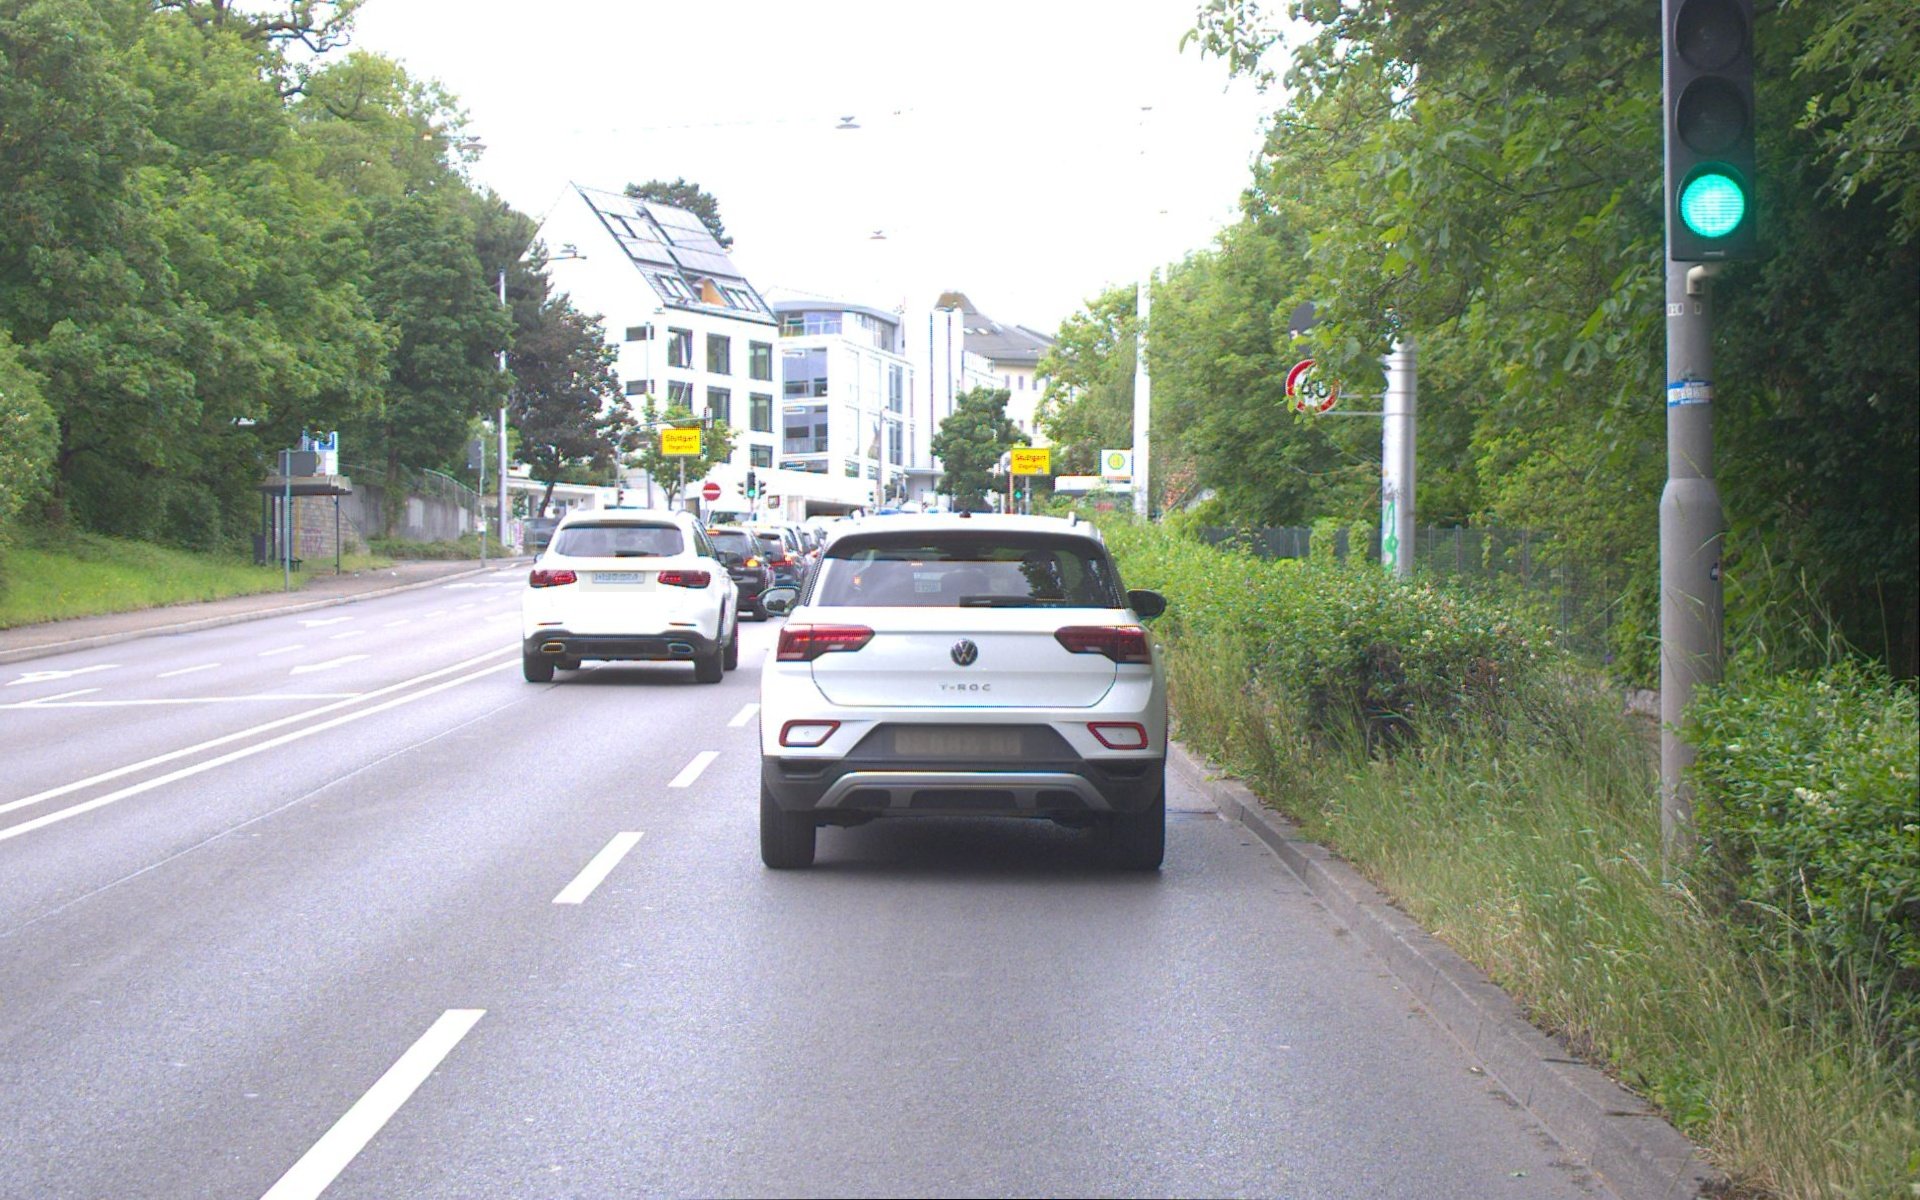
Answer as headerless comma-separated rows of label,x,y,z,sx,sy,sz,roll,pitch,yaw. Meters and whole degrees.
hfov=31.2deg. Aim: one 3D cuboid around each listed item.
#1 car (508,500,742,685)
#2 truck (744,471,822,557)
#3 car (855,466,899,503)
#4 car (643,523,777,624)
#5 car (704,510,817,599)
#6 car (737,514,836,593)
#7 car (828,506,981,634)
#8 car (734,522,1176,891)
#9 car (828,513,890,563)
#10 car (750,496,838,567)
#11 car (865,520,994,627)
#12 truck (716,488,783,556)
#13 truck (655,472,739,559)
car,-3.183,-0.116,33.391,1.918,1.664,4.000,1,1,-1
truck,-5.947,-2.898,116.057,2.362,2.772,4.478,-1,1,-1
car,-3.533,-4.935,147.498,1.829,1.520,4.000,-1,1,-1
car,-3.865,-0.439,53.749,1.829,1.492,4.000,-1,1,-1
car,-3.568,-0.840,62.050,1.829,1.520,4.000,-1,1,-1
car,-3.488,-0.959,69.698,1.829,1.520,4.000,-1,1,-1
car,-0.697,-0.408,43.729,1.829,1.520,4.000,-1,1,-1
car,-0.043,0.397,16.244,1.829,1.520,4.000,0,1,-1
car,-3.139,-1.943,107.545,1.829,1.520,4.000,-1,1,-1
car,-3.709,-1.545,77.318,1.829,1.520,4.000,-1,1,-1
car,-0.466,-0.428,51.360,1.829,1.520,4.000,-1,1,-1
truck,-9.817,-3.641,160.736,2.293,3.040,6.979,-1,1,3
truck,-8.512,-2.743,111.469,2.362,2.697,4.478,-1,1,-1
